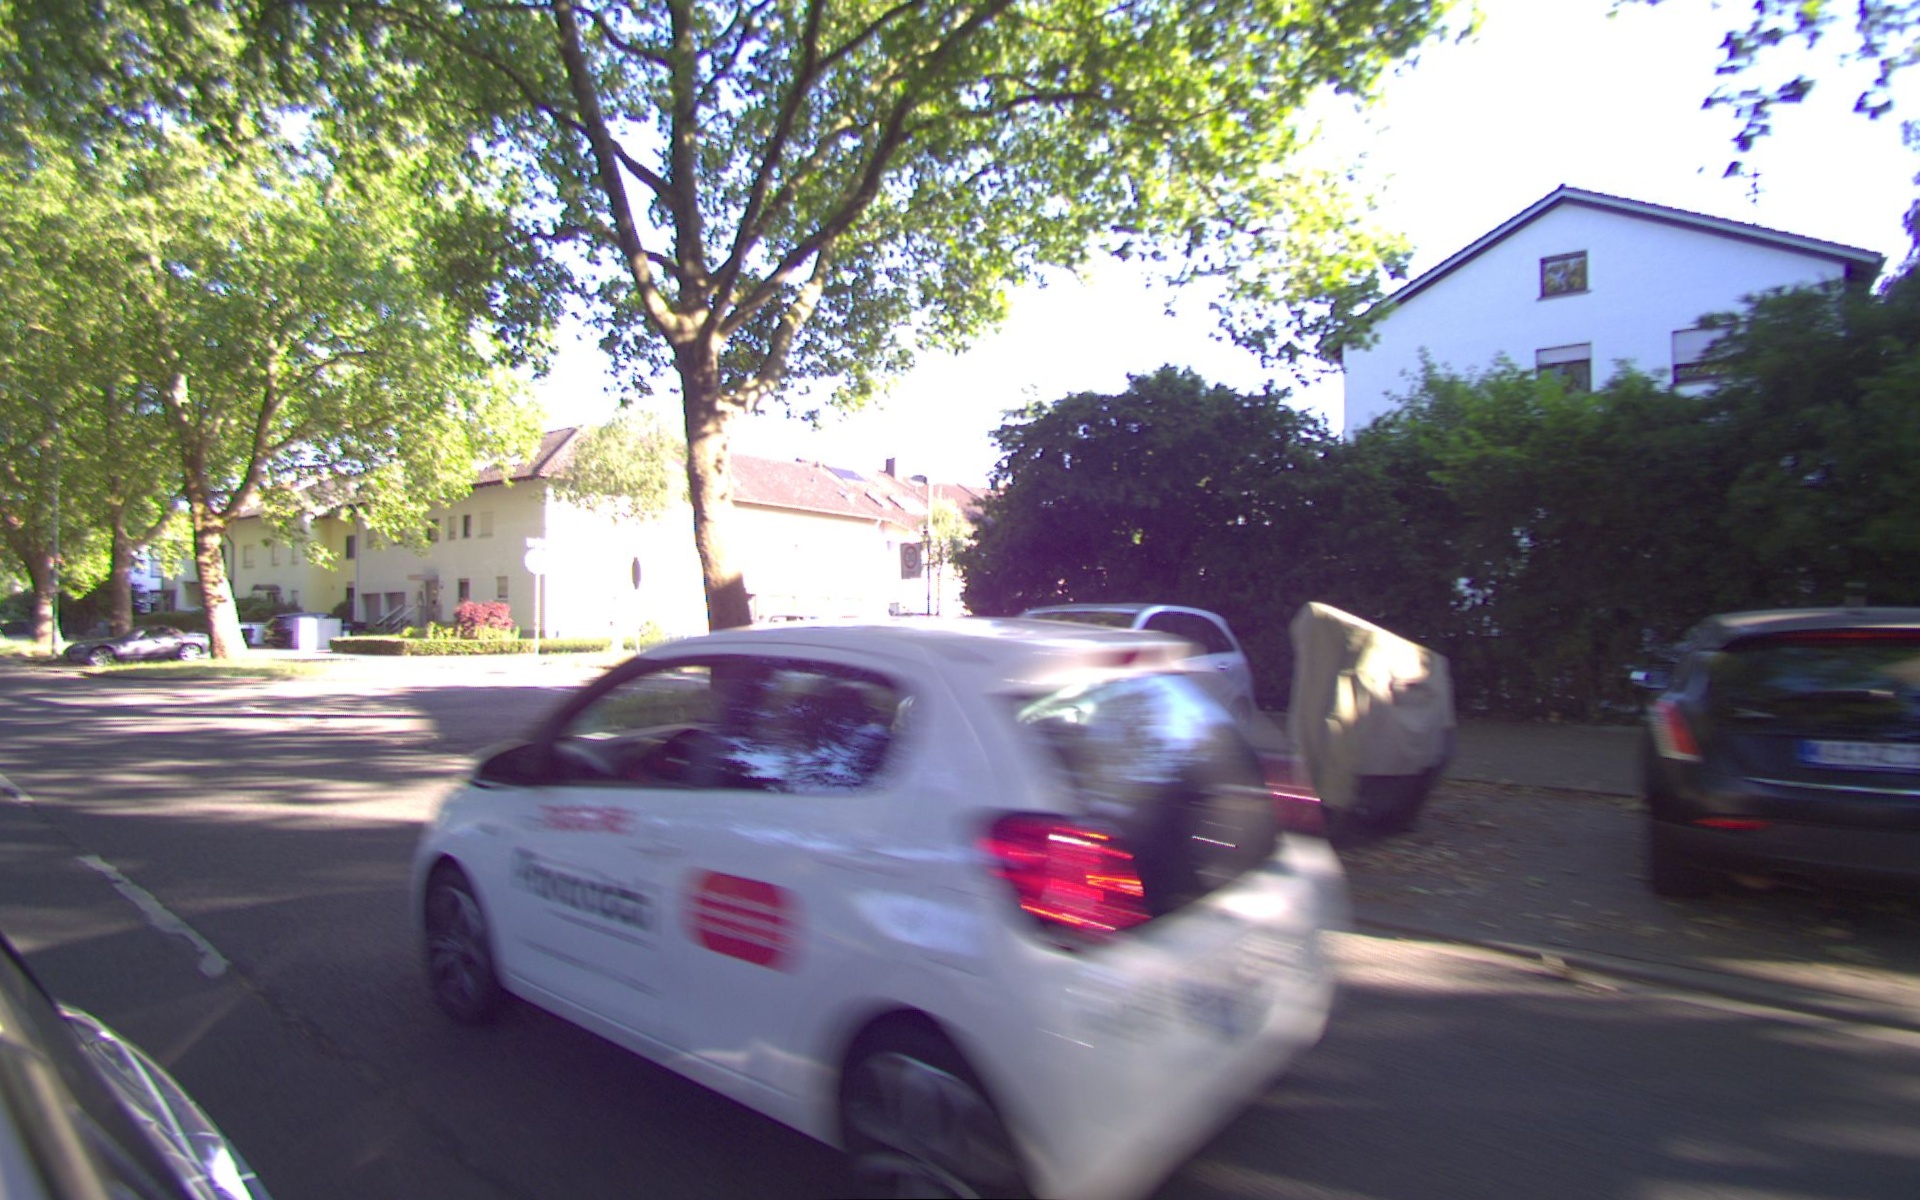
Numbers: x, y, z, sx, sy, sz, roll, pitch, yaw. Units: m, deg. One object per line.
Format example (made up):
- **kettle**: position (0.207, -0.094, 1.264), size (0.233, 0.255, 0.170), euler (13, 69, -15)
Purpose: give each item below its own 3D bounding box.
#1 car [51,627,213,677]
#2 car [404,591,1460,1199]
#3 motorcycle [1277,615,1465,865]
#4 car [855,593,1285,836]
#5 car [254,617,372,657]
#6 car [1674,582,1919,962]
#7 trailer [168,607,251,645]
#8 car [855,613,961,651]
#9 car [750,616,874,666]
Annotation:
- **car**: position (-27.125, 1.649, 33.256), size (1.787, 1.326, 3.790), euler (-1, 1, 38)
- **car**: position (-0.304, 0.759, 3.261), size (3.181, 1.470, 1.520), euler (-1, -2, 39)
- **motorcycle**: position (2.846, 0.802, 6.826), size (0.647, 1.399, 2.364), euler (-1, -2, 35)
- **car**: position (1.198, 0.794, 8.947), size (1.996, 1.596, 4.145), euler (-1, -2, 36)
- **car**: position (-28.385, 1.581, 44.456), size (1.899, 1.475, 3.948), euler (0, 2, 39)
- **car**: position (5.156, 0.715, 5.636), size (1.799, 1.518, 4.122), euler (-1, -2, 37)
- **trailer**: position (-43.345, 1.488, 58.515), size (1.640, 1.940, 3.423), euler (-3, 1, 36)
- **car**: position (-2.322, 1.369, 44.659), size (4.455, 1.587, 1.976), euler (-1, -1, 36)
- **car**: position (-5.083, 1.369, 34.591), size (3.993, 1.587, 1.975), euler (-1, -1, 37)
